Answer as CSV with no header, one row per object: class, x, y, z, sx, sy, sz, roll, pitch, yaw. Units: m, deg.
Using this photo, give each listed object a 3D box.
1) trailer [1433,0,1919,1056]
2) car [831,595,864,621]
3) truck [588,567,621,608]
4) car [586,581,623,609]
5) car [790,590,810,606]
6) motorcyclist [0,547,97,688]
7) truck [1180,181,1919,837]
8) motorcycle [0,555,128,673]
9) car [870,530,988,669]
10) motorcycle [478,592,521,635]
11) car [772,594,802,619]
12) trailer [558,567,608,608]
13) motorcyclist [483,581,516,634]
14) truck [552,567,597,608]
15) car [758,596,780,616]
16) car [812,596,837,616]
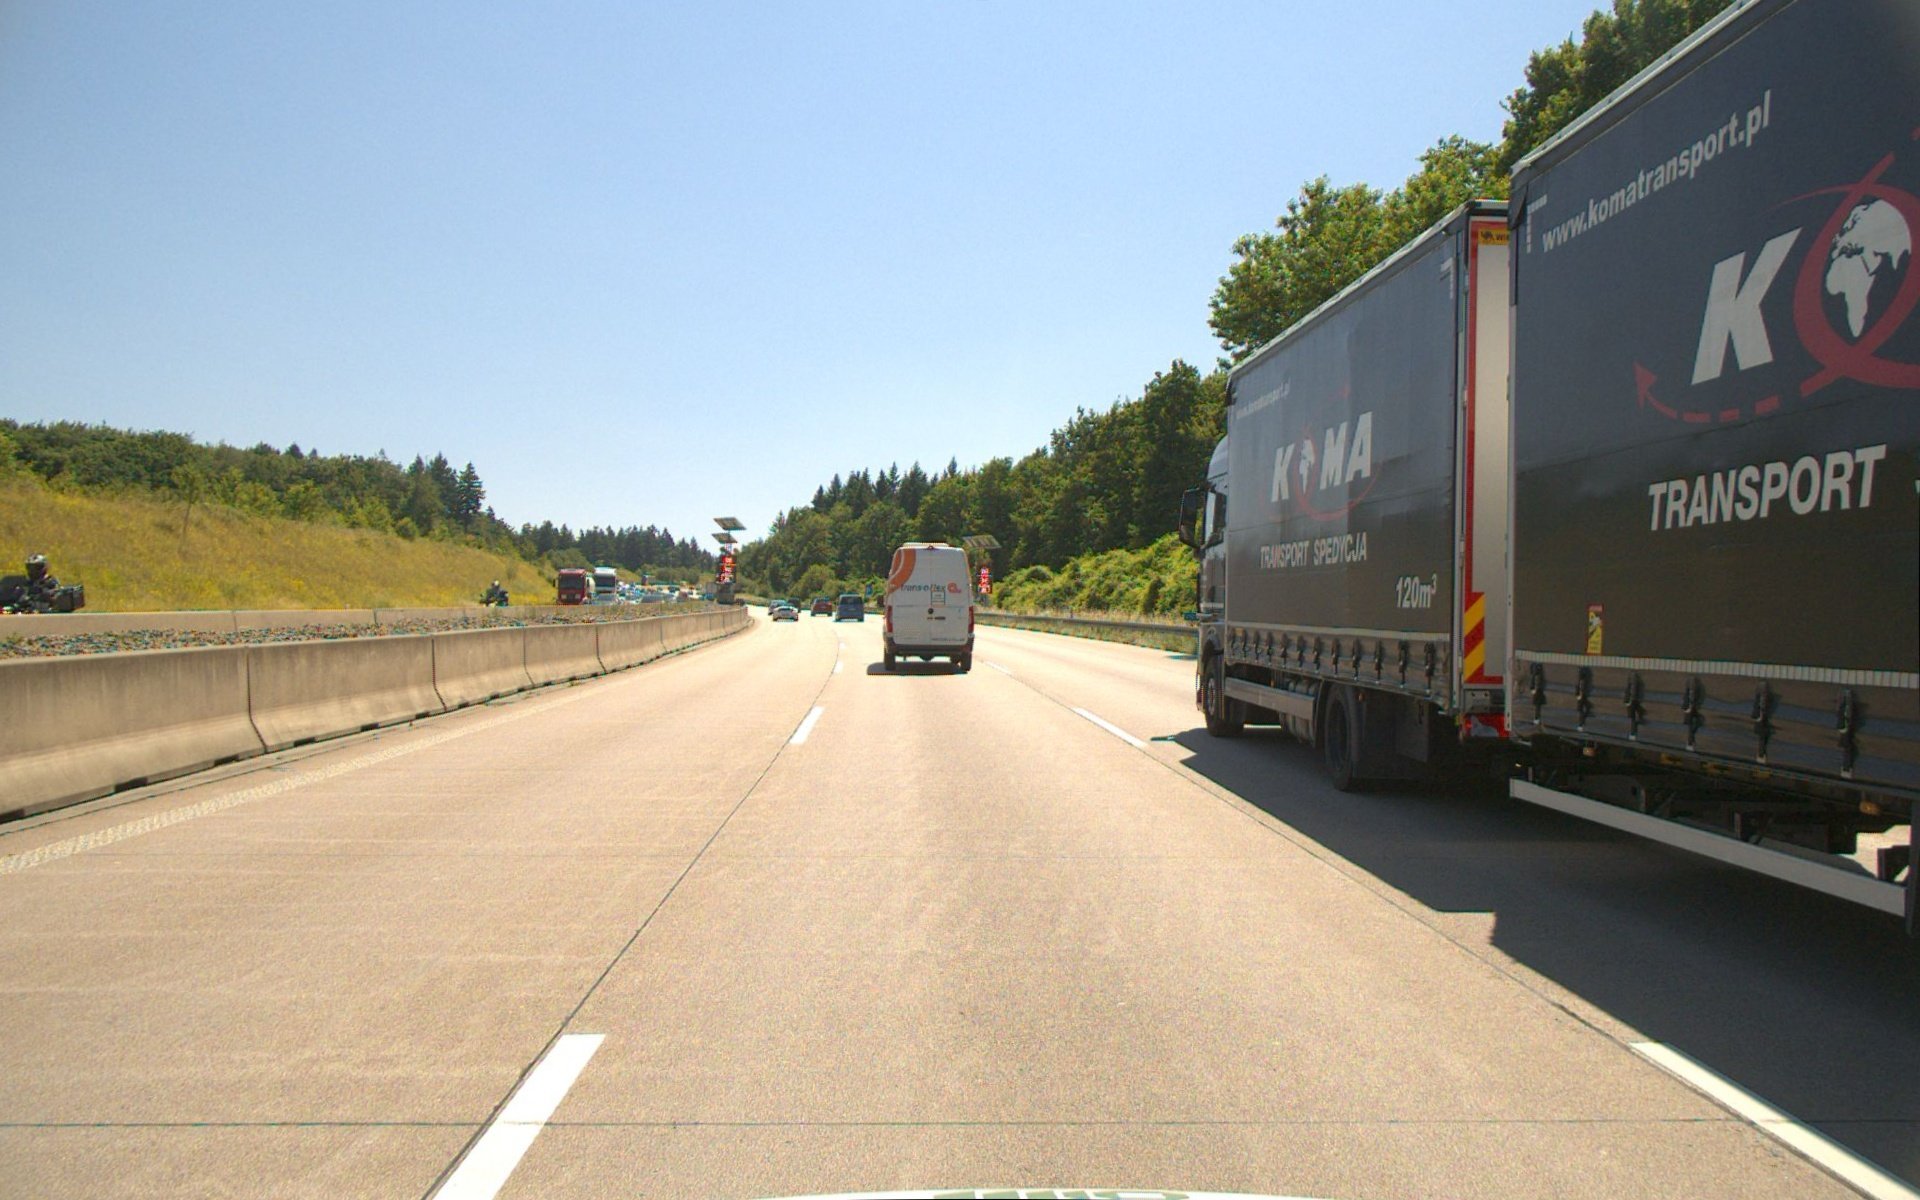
trailer,4.564,-0.589,5.768,3.071,4.087,9.086,1,0,-1
car,-8.090,0.571,118.551,1.957,1.713,3.992,3,-1,-9
truck,-38.772,-1.332,180.448,2.879,4.241,5.749,3,-1,-8
car,-23.577,-0.311,109.817,1.955,1.803,3.994,0,0,-7
car,-18.300,-0.210,188.716,1.957,1.713,3.992,3,-1,-9
motorcyclist,-12.874,0.233,23.146,0.802,1.906,1.491,1,0,-2
truck,4.434,-0.566,15.736,3.095,4.087,10.605,1,0,-1
motorcycle,-12.820,0.182,23.287,0.987,1.576,2.483,1,0,-2
car,-0.799,-0.039,37.744,2.183,2.894,5.447,1,0,-6
motorcycle,-15.305,0.430,55.026,0.808,1.396,2.356,1,0,-2
car,-12.497,0.455,119.214,1.957,1.713,3.992,3,-1,-9
trailer,-33.121,-1.005,145.546,2.877,3.271,11.814,3,-1,-7
motorcyclist,-15.286,0.242,54.969,0.679,1.739,1.524,1,0,-2
truck,-32.377,-1.029,139.049,2.878,3.271,5.896,3,-1,-7
car,-18.258,0.573,157.935,1.957,1.713,3.992,3,-1,-9
car,-12.524,0.523,152.834,1.957,1.713,3.992,3,-1,-9
